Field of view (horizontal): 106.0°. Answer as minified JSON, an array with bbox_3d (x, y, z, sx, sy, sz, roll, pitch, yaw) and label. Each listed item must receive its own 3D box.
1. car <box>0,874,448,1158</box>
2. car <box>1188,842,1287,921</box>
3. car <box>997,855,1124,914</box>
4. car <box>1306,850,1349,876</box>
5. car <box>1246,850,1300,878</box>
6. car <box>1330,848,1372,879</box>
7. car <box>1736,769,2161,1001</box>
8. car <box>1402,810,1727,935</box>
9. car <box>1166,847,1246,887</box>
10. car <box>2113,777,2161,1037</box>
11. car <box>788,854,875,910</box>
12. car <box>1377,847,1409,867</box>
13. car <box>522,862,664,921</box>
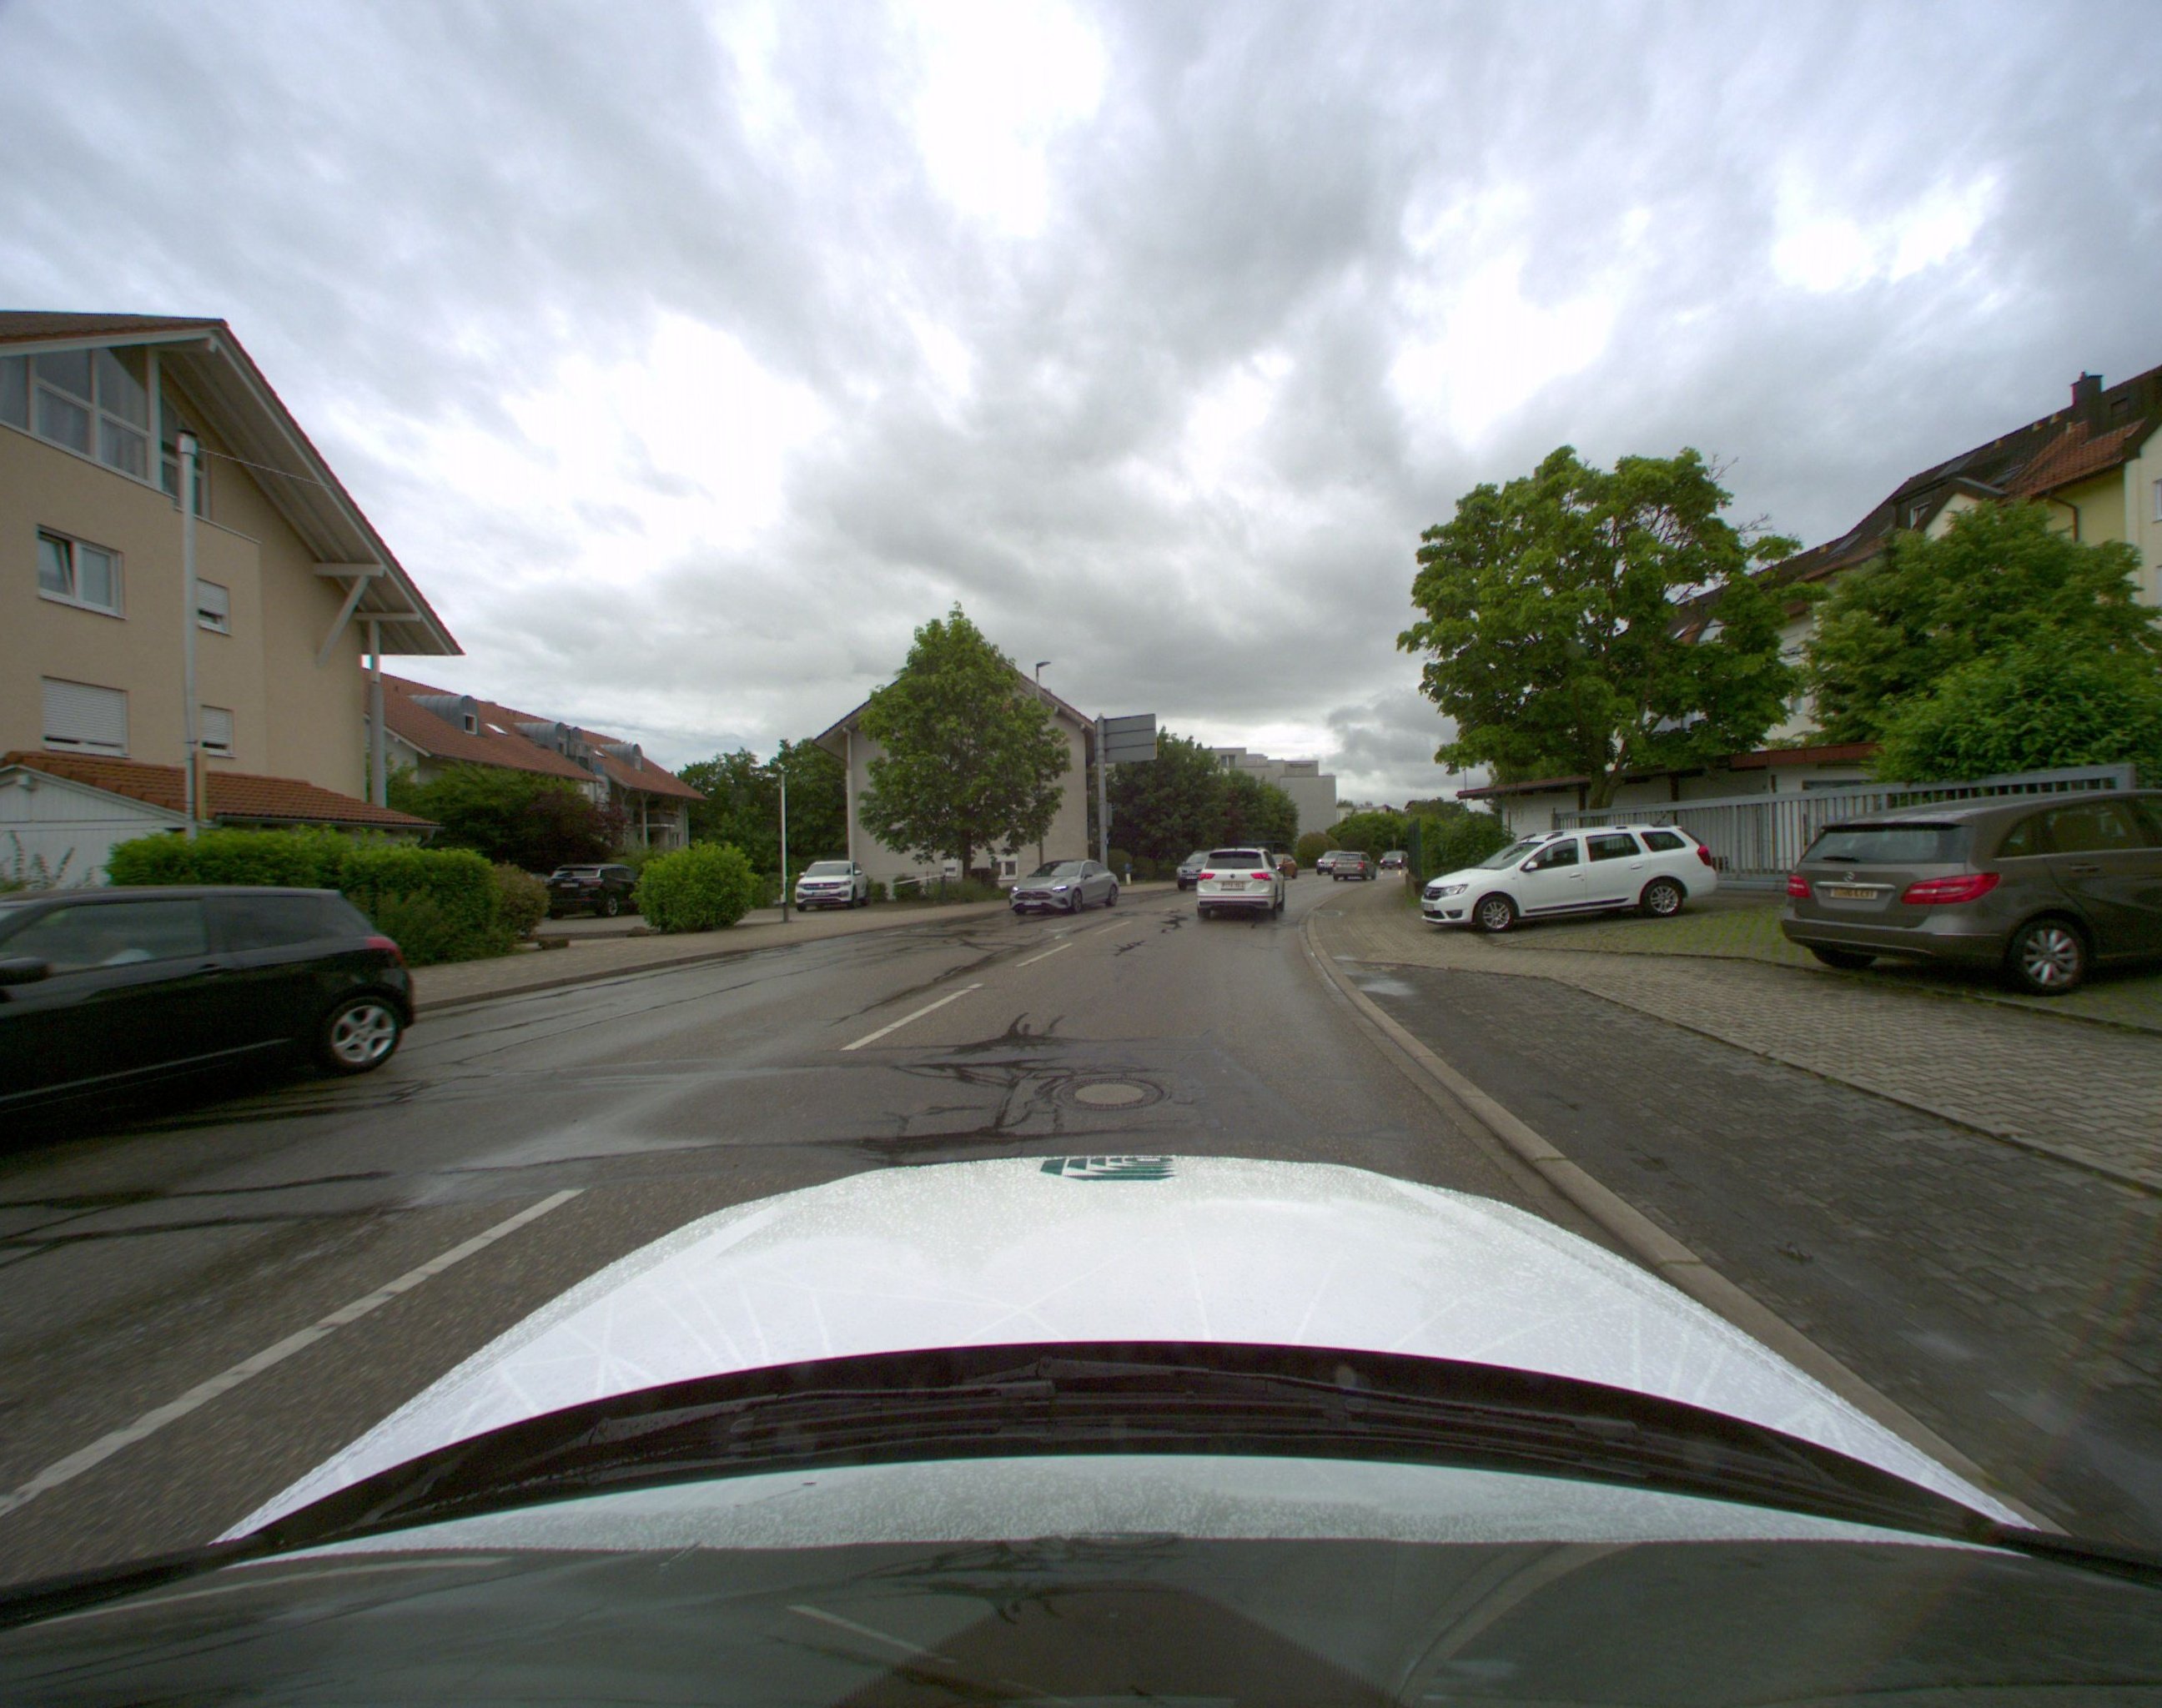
[{"bbox_3d":[-6.450,0.942,5.111,1.577,1.422,3.707,-3,0,11],"label":"car"},{"bbox_3d":[3.967,0.585,20.043,1.906,1.722,4.284,0,0,17],"label":"car"},{"bbox_3d":[-0.452,0.795,23.170,1.885,1.390,4.514,-1,1,23],"label":"car"},{"bbox_3d":[16.806,0.564,55.431,1.883,1.657,4.141,-2,-1,30],"label":"car"},{"bbox_3d":[10.926,0.548,46.137,1.883,1.439,4.141,-2,-1,30],"label":"car"},{"bbox_3d":[14.050,0.530,42.264,1.750,1.510,4.021,-1,-2,22],"label":"car"},{"bbox_3d":[8.690,0.151,7.329,4.035,1.596,1.903,-6,0,-3],"label":"car"},{"bbox_3d":[8.013,0.301,13.847,4.321,1.596,1.768,-6,0,4],"label":"car"},{"bbox_3d":[5.615,0.536,36.170,1.883,1.657,4.294,-1,0,32],"label":"car"},{"bbox_3d":[8.666,0.134,4.363,4.037,1.596,1.893,-5,0,-4],"label":"car"},{"bbox_3d":[-7.996,0.912,26.463,1.991,1.651,3.990,0,-2,-6],"label":"car"},{"bbox_3d":[26.320,0.218,68.632,1.883,1.590,4.141,-2,-1,30],"label":"car"},{"bbox_3d":[-15.044,1.149,25.391,1.987,1.651,3.998,-1,-2,-1],"label":"car"}]
